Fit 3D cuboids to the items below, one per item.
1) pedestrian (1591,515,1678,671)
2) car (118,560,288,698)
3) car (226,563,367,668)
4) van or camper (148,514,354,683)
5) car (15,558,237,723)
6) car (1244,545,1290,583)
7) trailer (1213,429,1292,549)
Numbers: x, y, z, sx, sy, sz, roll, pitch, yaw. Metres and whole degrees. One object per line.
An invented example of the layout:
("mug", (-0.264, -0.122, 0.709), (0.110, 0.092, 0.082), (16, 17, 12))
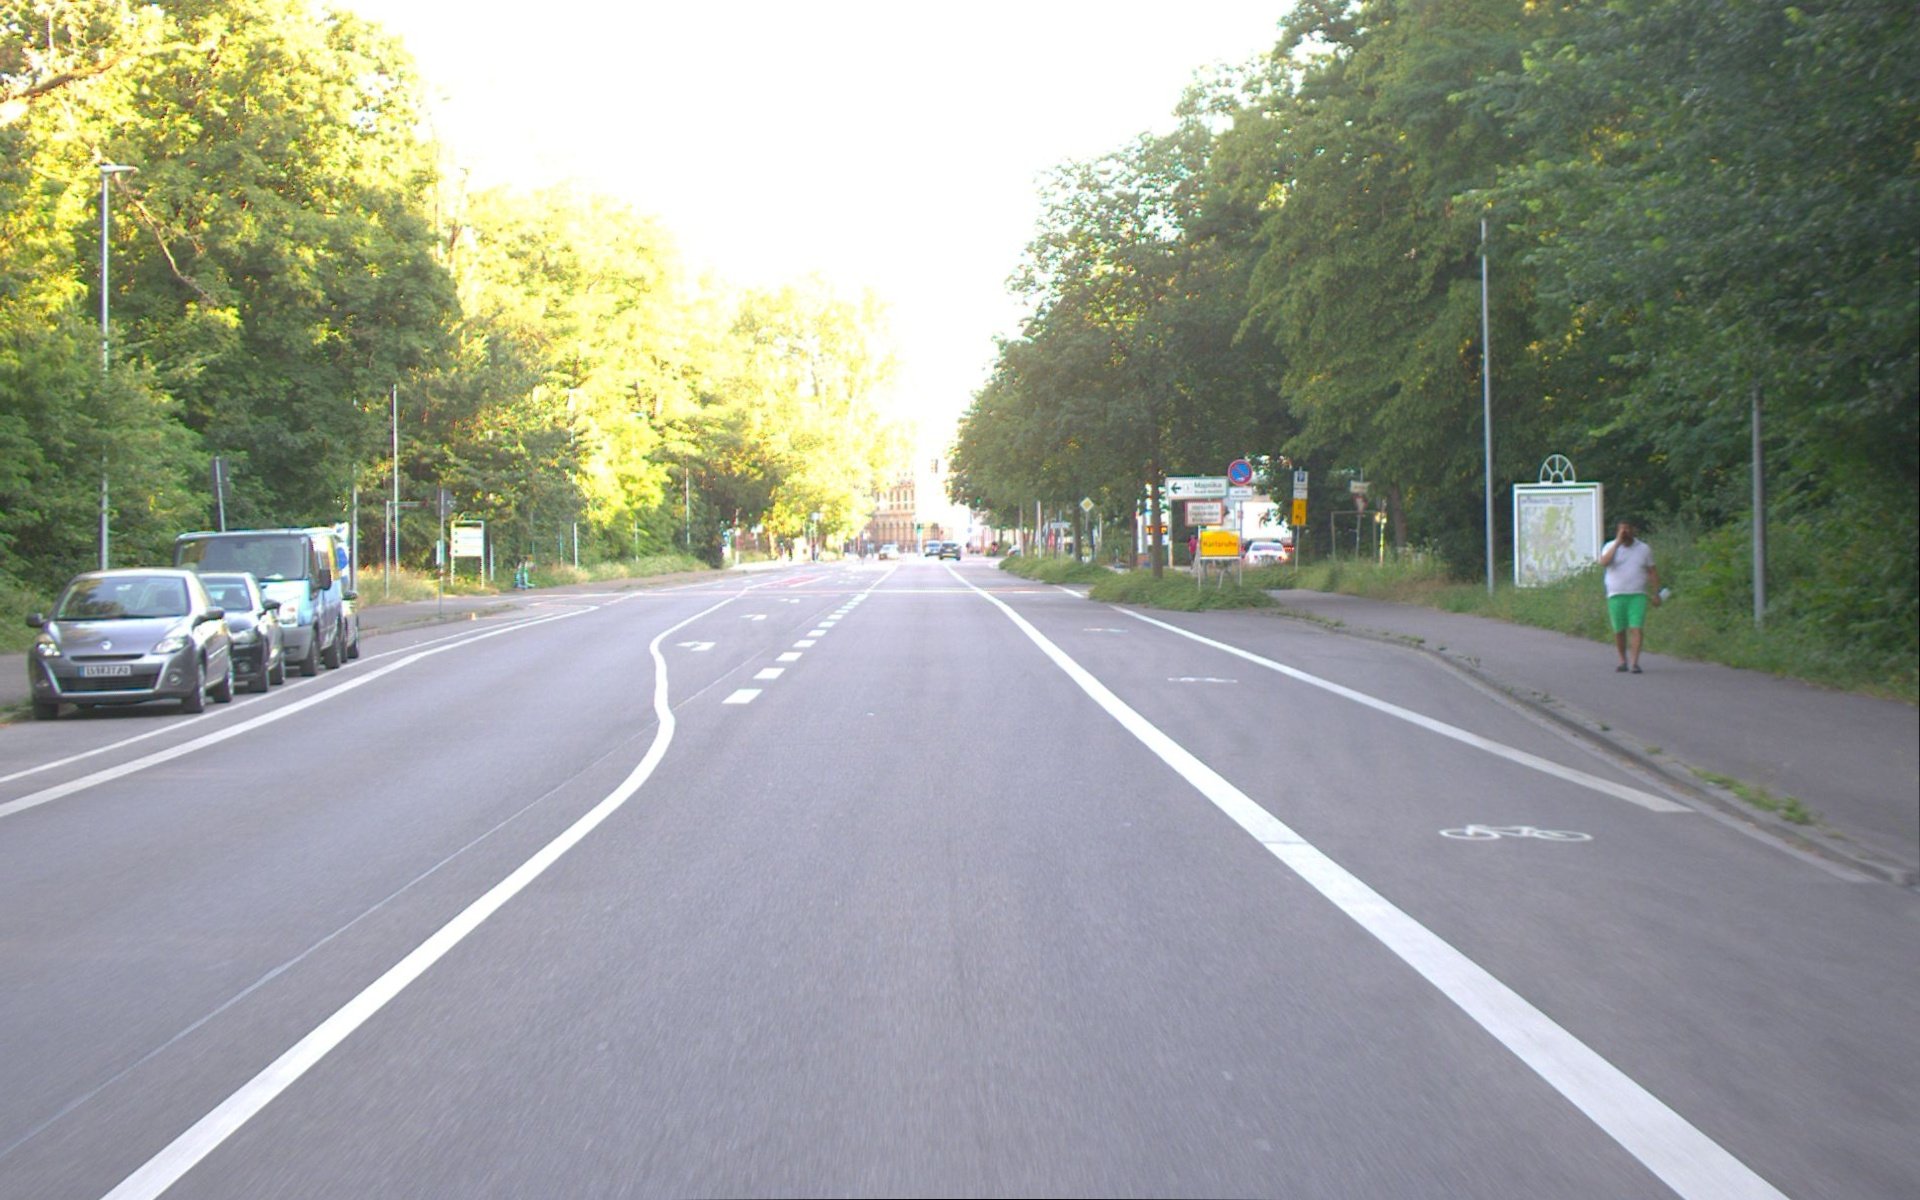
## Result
("pedestrian", (7.622, -0.085, 38.883), (0.838, 1.745, 0.726), (0, 1, 0))
("car", (-8.970, 0.302, 40.979), (1.542, 1.488, 3.973), (-2, 1, -7))
("car", (-10.060, 0.202, 52.368), (1.686, 1.457, 4.244), (-2, 1, -6))
("van or camper", (-9.538, -0.056, 46.627), (2.031, 2.087, 5.015), (-2, 1, -4))
("car", (-8.538, 0.366, 35.478), (1.616, 1.529, 4.041), (-2, 1, -6))
("car", (13.197, -1.572, 148.075), (1.770, 1.578, 4.818), (1, 1, 3))
("trailer", (13.611, -5.120, 160.513), (3.020, 5.443, 7.935), (0, 1, 0))
